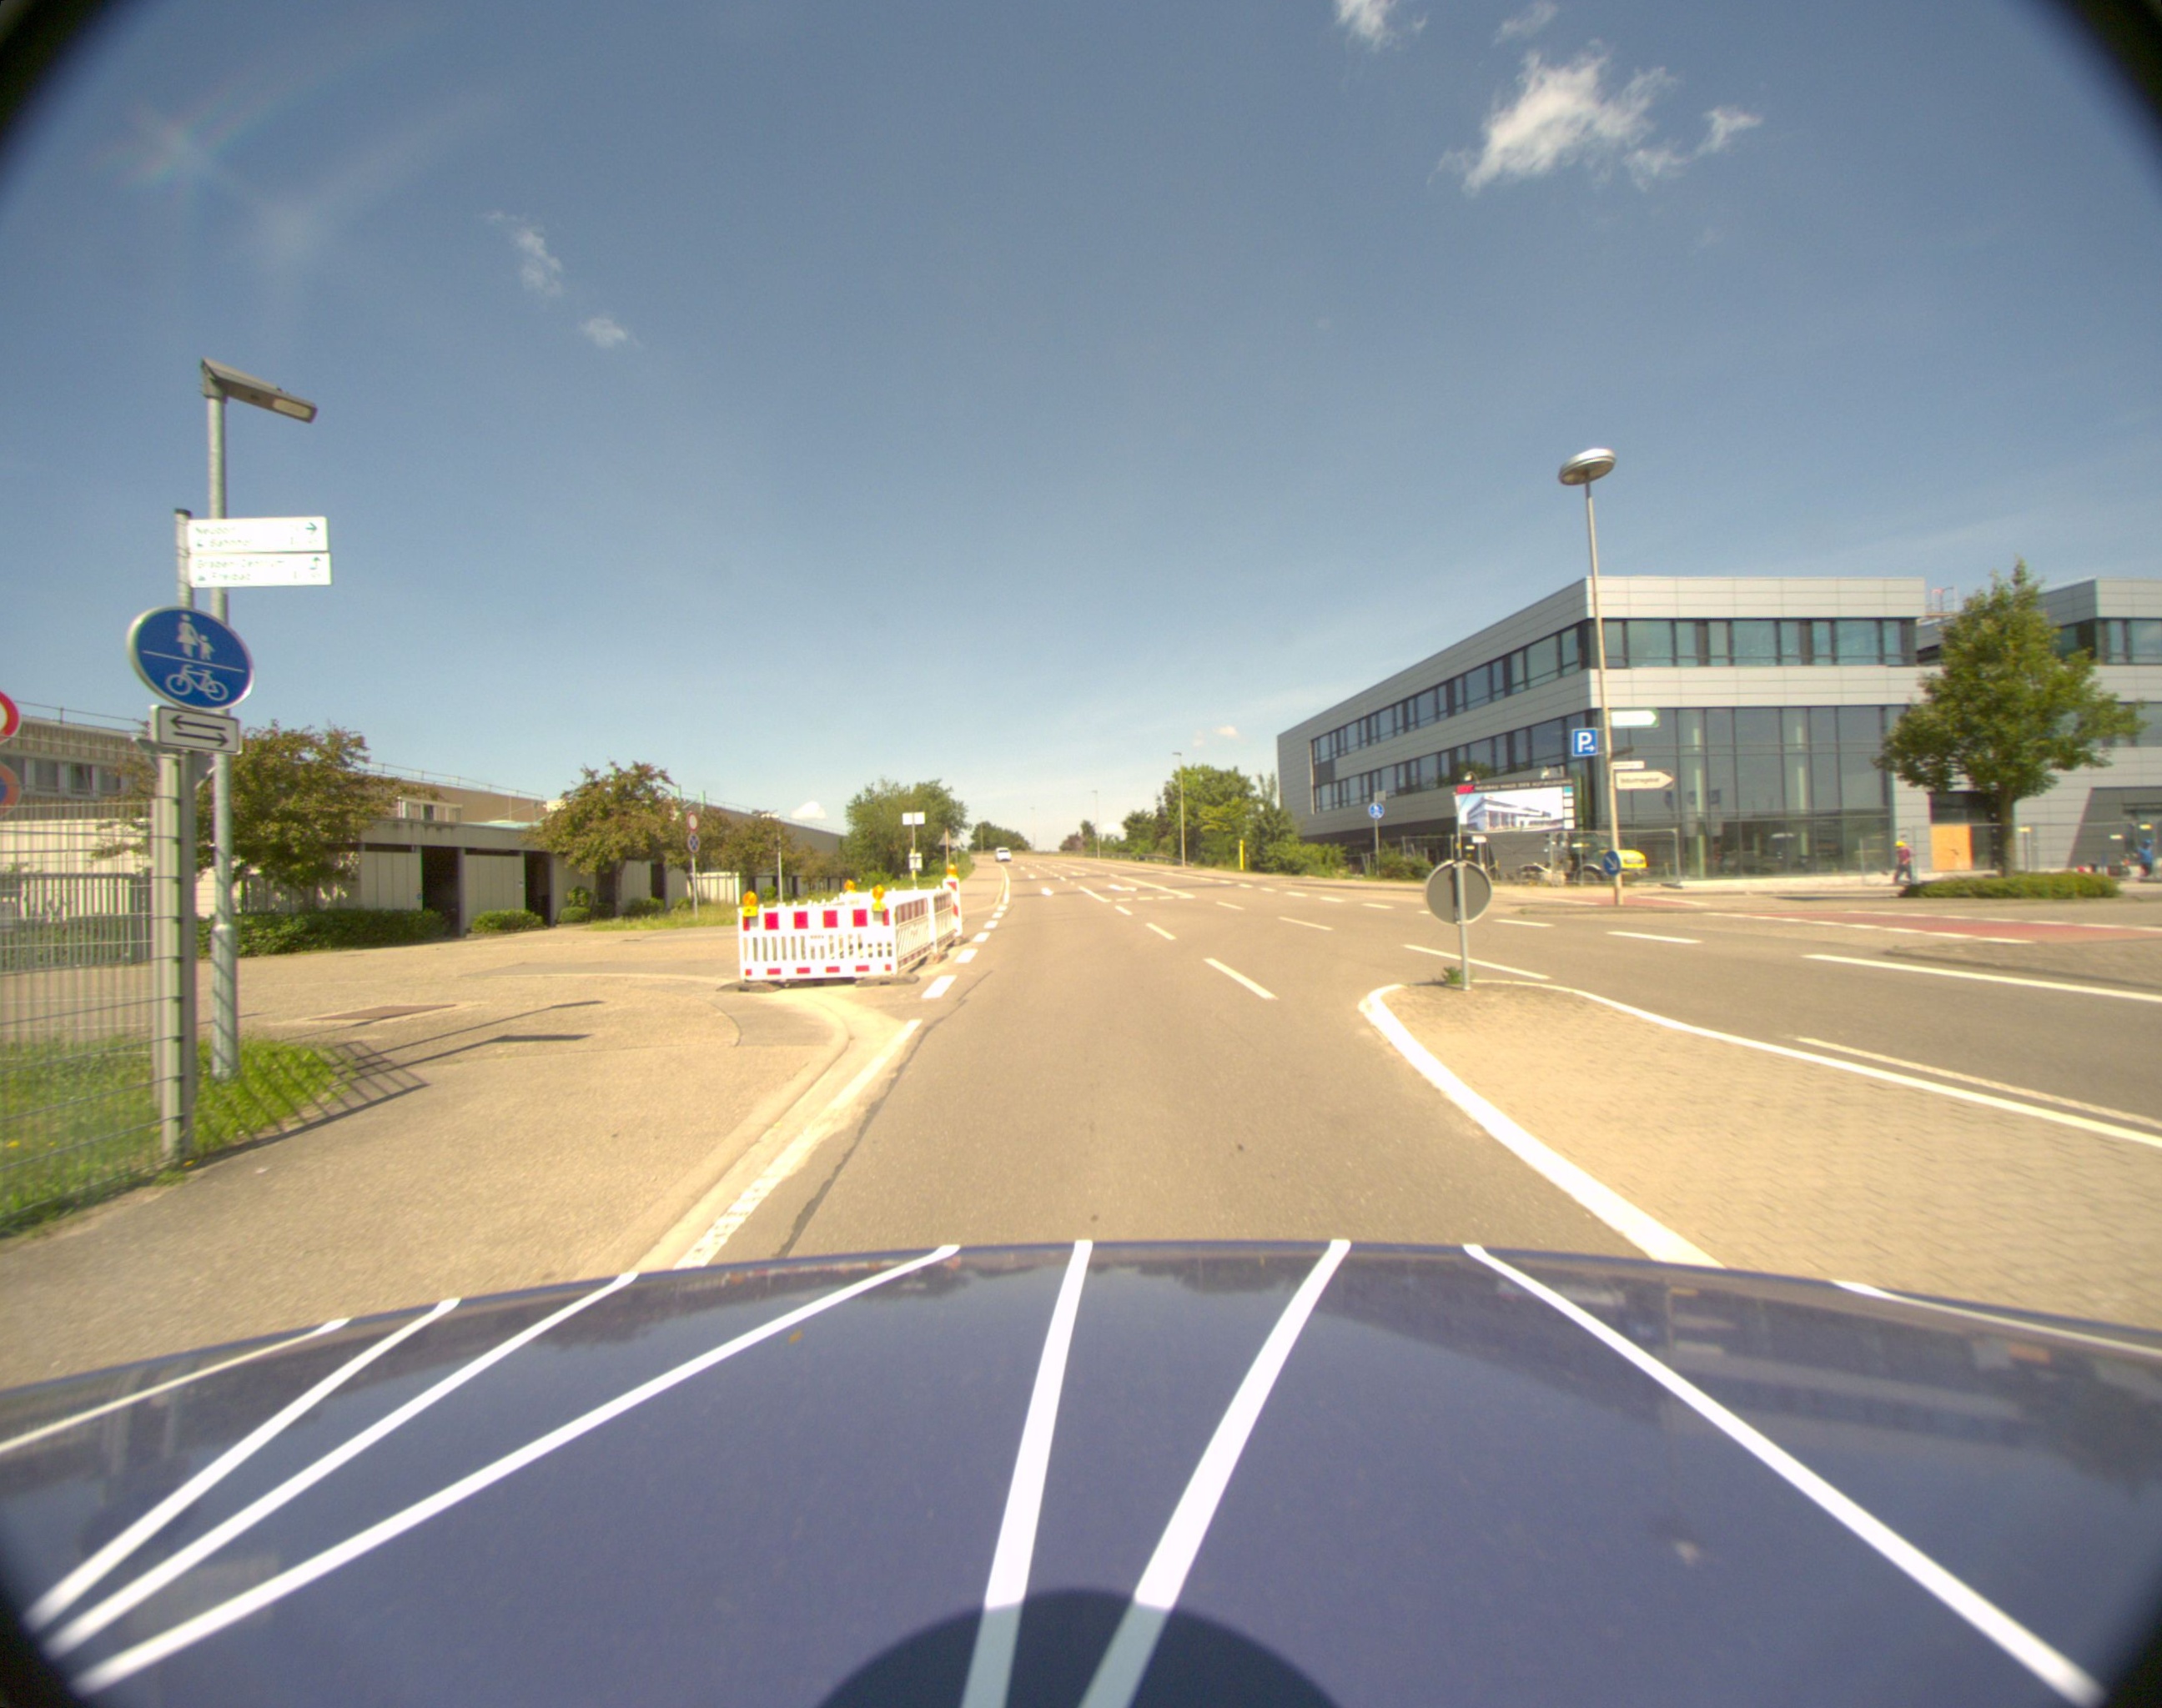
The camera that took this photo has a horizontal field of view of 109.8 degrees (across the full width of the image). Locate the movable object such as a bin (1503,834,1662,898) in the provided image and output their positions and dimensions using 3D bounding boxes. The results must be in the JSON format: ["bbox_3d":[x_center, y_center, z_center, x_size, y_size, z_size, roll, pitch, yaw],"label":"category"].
[{"bbox_3d":[20.663,0.488,31.665,2.173,2.395,5.455,-2,0,-14],"label":"movable object such as a bin"}]

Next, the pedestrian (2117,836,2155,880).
[{"bbox_3d":[42.823,0.163,30.840,0.774,1.717,0.533,-2,0,-4],"label":"pedestrian"}]

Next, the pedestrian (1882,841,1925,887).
[{"bbox_3d":[31.709,0.371,29.300,0.782,1.717,0.774,-2,0,-7],"label":"pedestrian"}]

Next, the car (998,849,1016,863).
[{"bbox_3d":[-10.105,0.301,103.356,2.000,1.903,3.997,-2,-1,-10],"label":"car"}]

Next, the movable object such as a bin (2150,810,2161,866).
[{"bbox_3d":[50.102,-0.799,32.706,6.382,2.437,3.380,-2,0,-23],"label":"movable object such as a bin"}]
